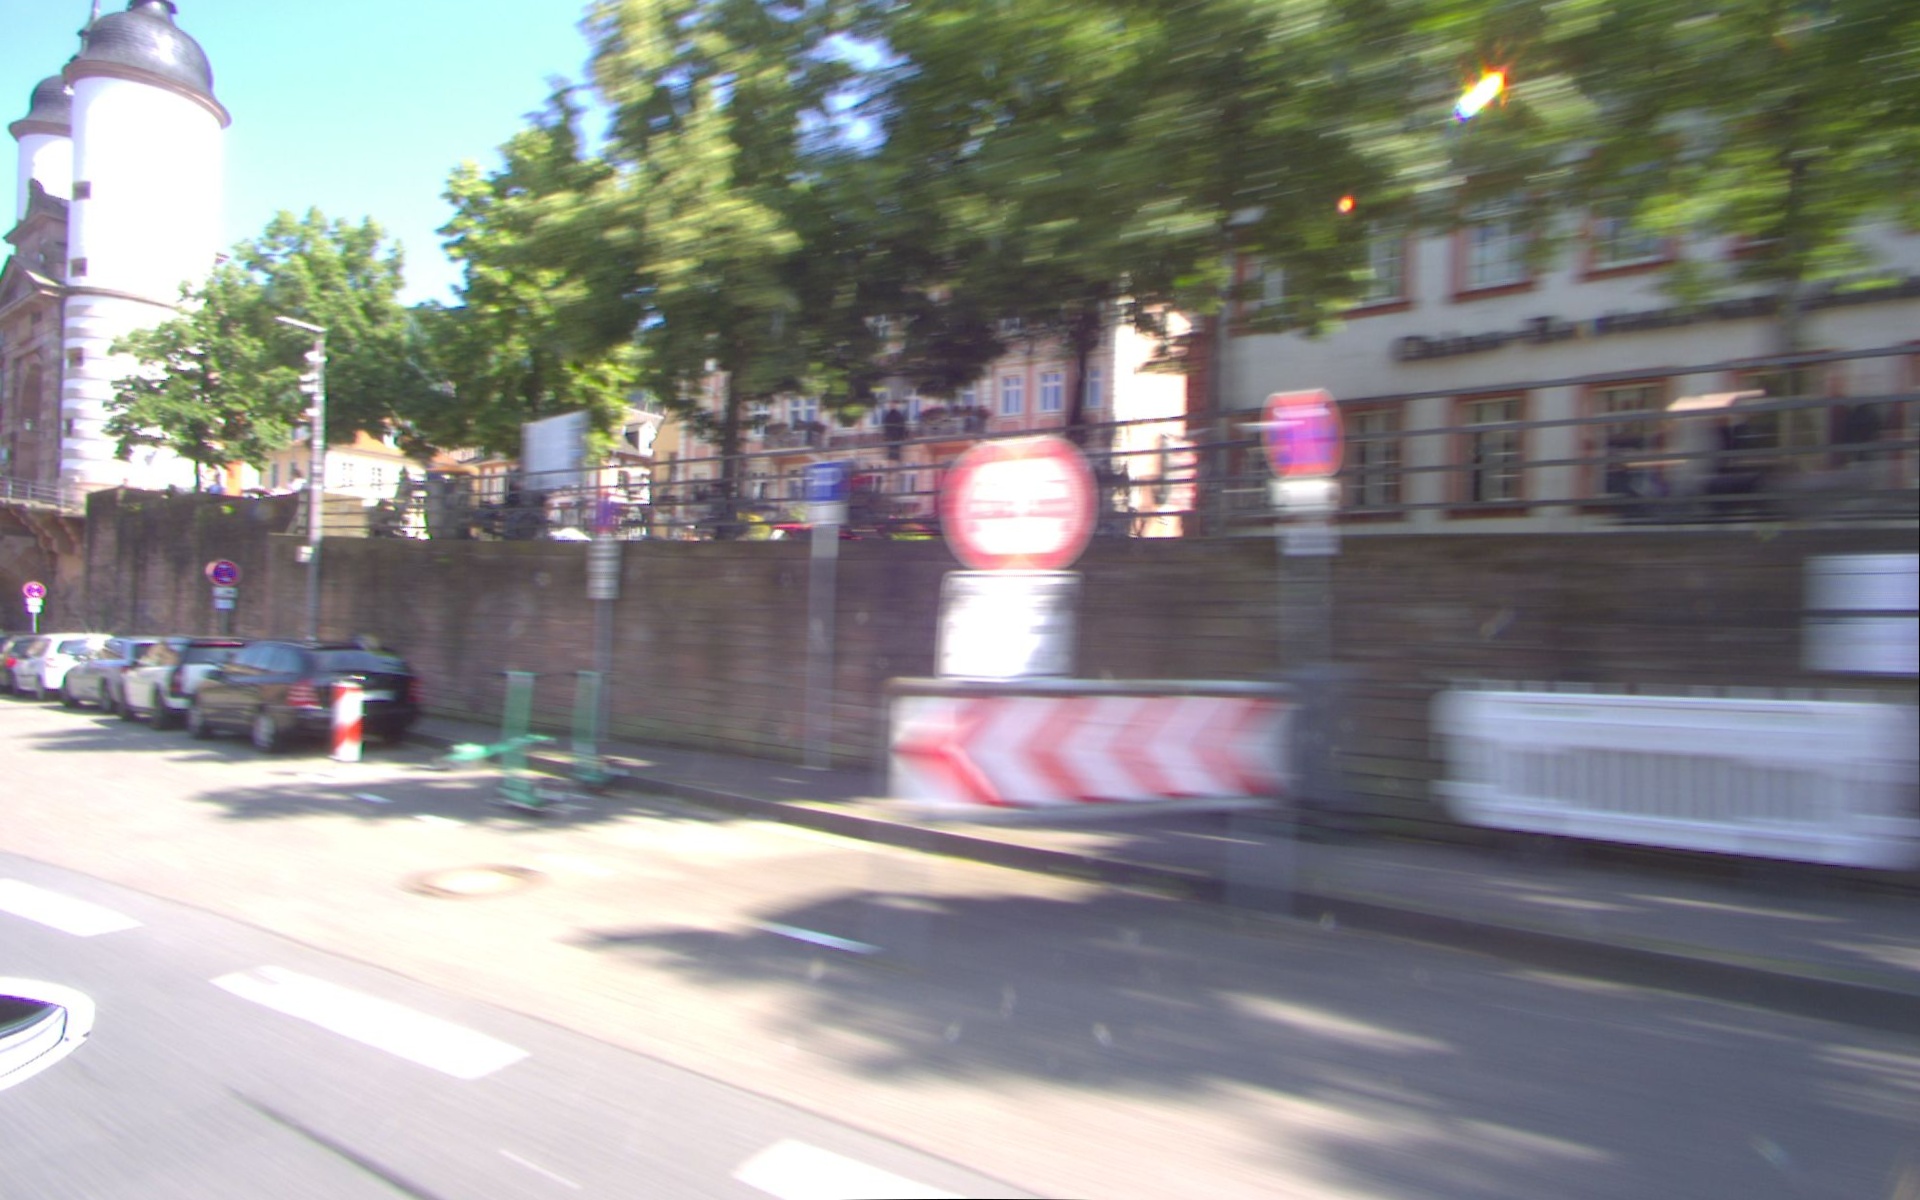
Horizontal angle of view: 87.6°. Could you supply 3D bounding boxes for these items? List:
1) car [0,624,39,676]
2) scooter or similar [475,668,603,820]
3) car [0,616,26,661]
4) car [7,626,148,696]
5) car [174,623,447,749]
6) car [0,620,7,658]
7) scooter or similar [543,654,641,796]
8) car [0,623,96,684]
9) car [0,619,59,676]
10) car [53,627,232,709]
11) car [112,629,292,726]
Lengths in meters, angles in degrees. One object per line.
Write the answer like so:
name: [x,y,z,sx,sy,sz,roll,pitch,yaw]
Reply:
car: [-30.708,1.555,32.056,3.862,1.540,1.582,0,-2,44]
scooter or similar: [-3.554,1.158,8.406,0.528,1.104,1.425,1,-1,-43]
car: [-35.385,1.362,36.334,3.940,1.522,1.767,0,-1,41]
car: [-20.467,1.368,23.193,3.500,1.476,1.706,0,-2,36]
car: [-9.184,1.088,14.028,4.478,1.468,1.837,0,-2,38]
car: [-39.387,1.482,39.604,4.434,1.455,1.770,0,-2,37]
scooter or similar: [-3.601,1.171,9.750,0.527,1.246,1.261,1,-1,-38]
car: [-23.661,1.318,25.773,4.360,1.406,1.701,-1,-1,43]
car: [-27.236,1.329,28.846,3.674,1.503,1.488,0,-2,42]
car: [-16.691,1.315,20.362,4.695,1.451,1.748,0,-2,37]
car: [-12.927,1.235,17.013,3.857,1.431,1.605,-1,-2,40]
